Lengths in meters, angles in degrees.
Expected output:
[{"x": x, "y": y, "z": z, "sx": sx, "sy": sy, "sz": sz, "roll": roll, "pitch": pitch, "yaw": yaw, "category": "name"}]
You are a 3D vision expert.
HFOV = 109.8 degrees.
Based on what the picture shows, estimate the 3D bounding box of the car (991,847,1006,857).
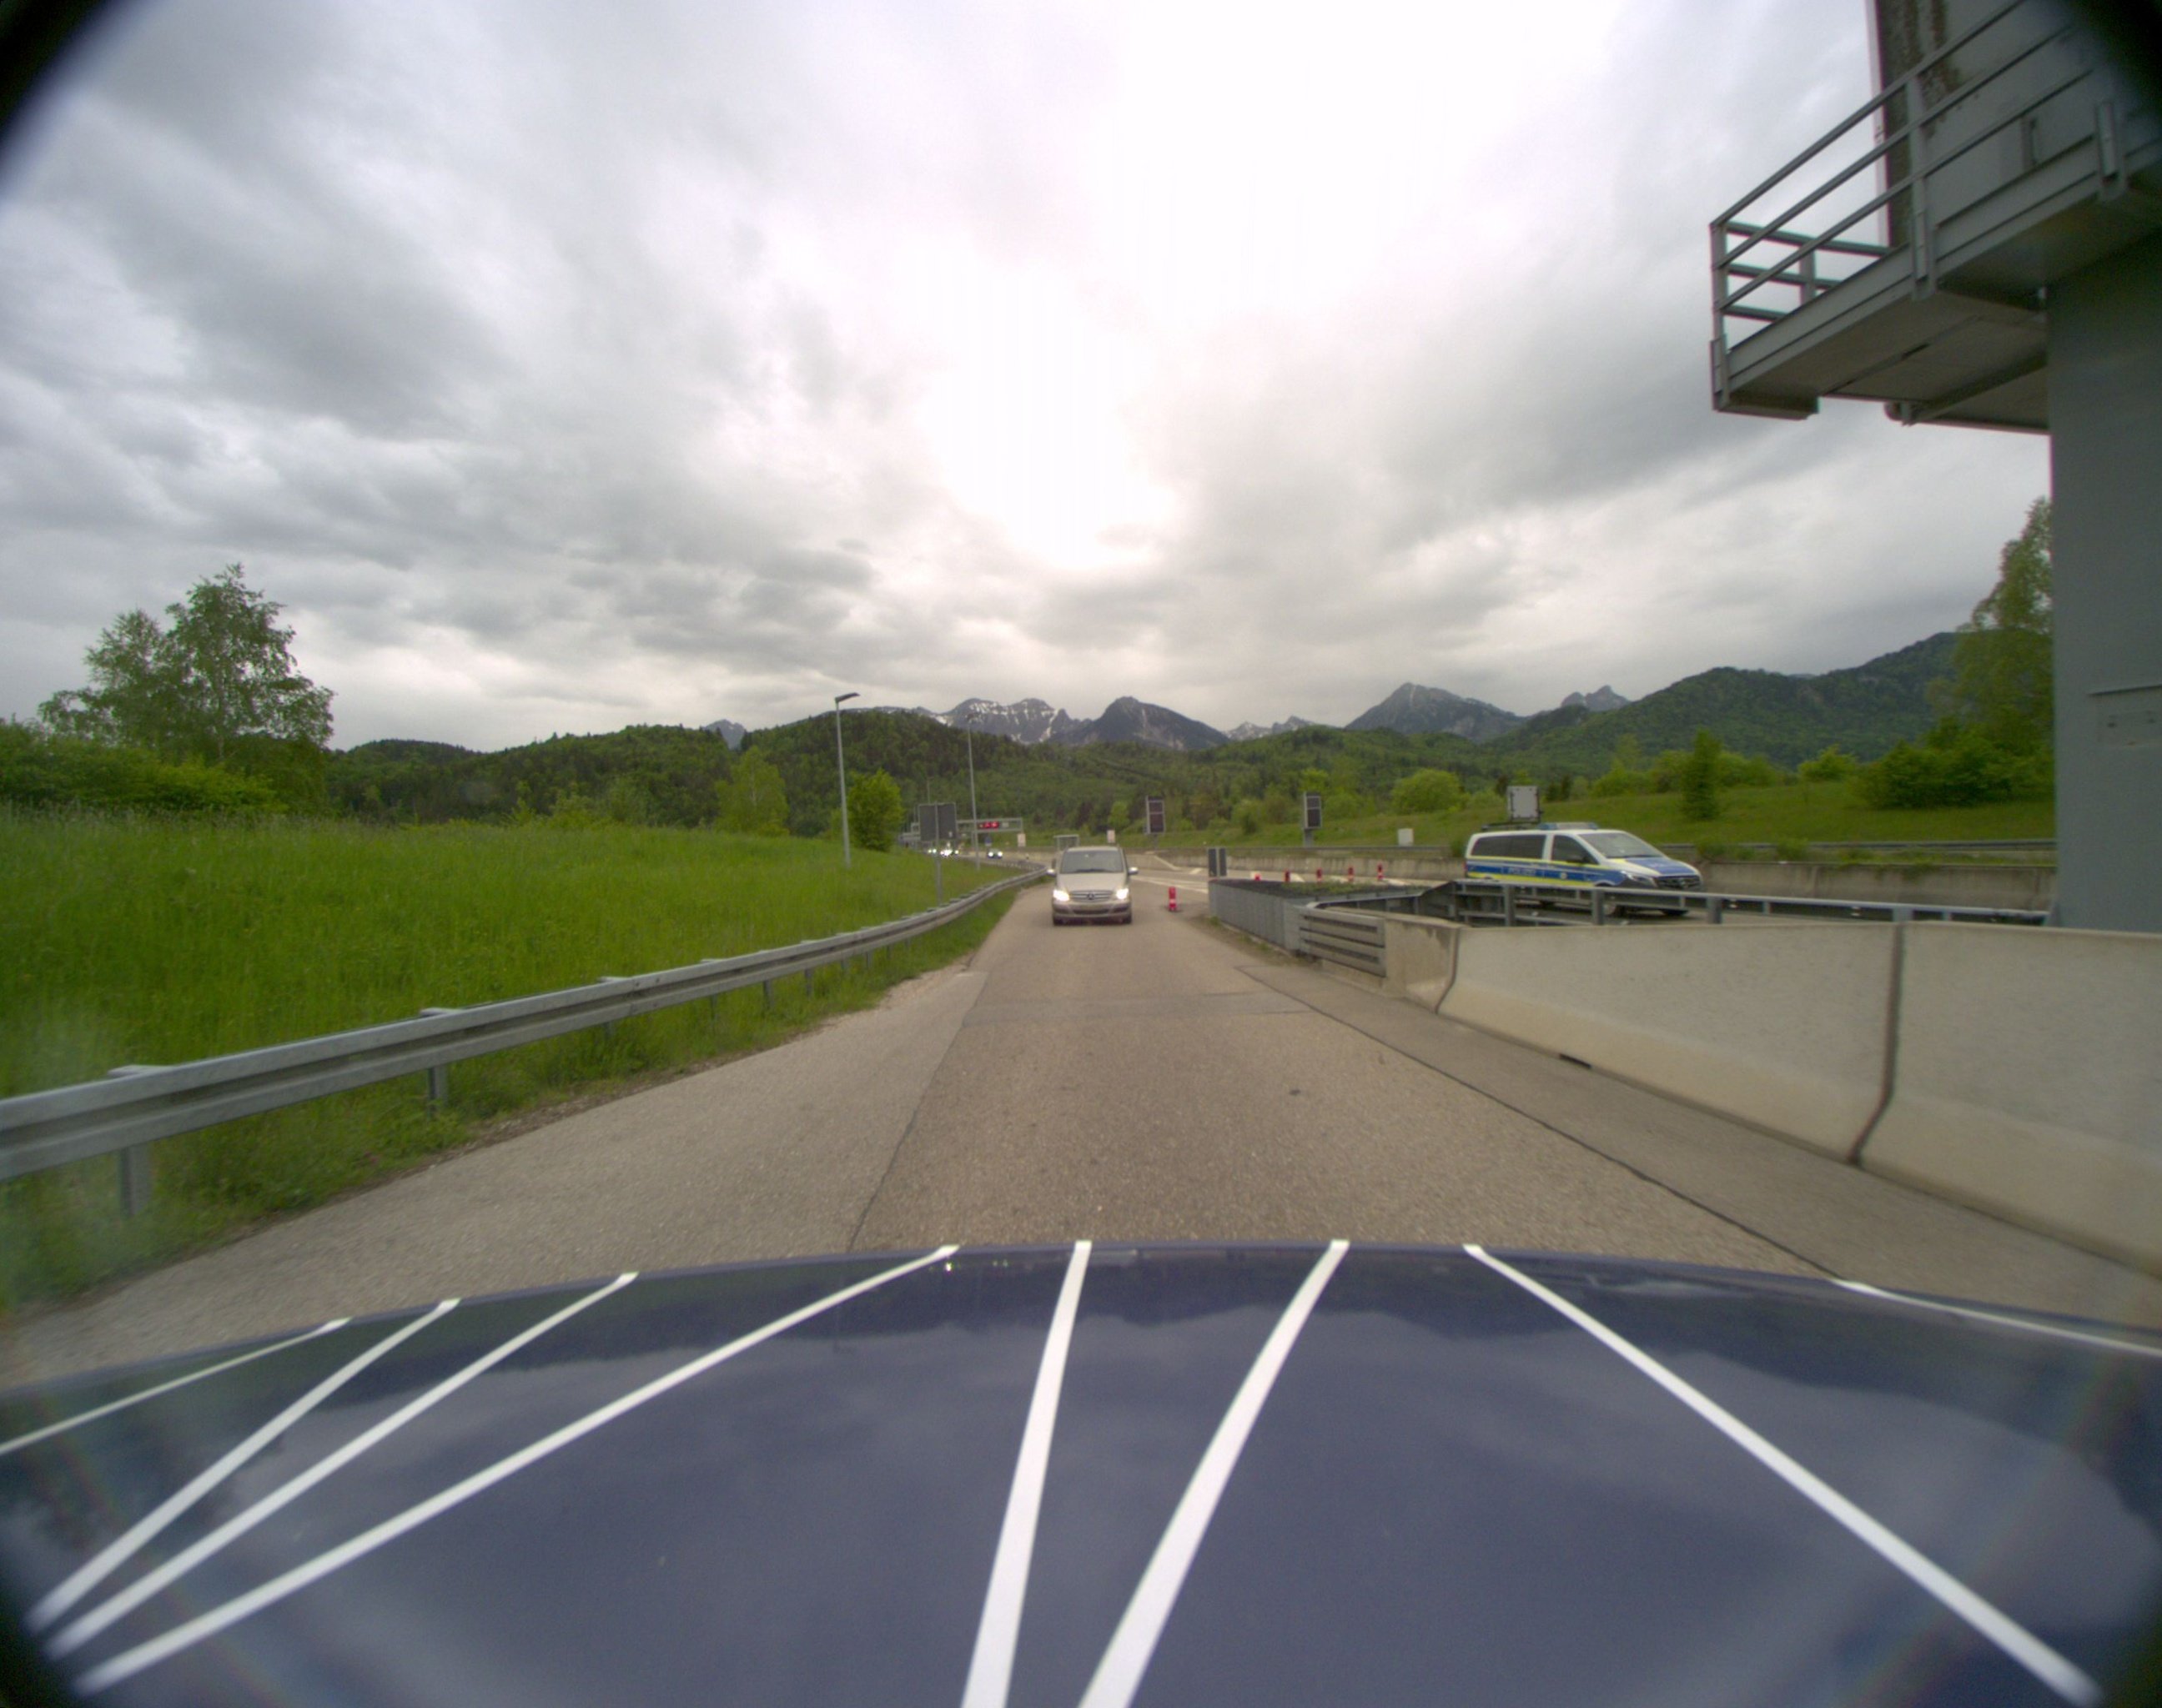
[{"x": -11.839, "y": -0.313, "z": 108.752, "sx": 1.665, "sy": 1.329, "sz": 3.787, "roll": -1, "pitch": 1, "yaw": -14, "category": "car"}]

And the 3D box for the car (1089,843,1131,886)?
[{"x": 1.270, "y": 0.428, "z": 34.544, "sx": 1.756, "sy": 1.795, "sz": 4.000, "roll": -1, "pitch": 1, "yaw": 1, "category": "car"}]

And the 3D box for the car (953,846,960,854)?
[{"x": -29.336, "y": -0.972, "z": 179.155, "sx": 1.632, "sy": 1.688, "sz": 3.492, "roll": -2, "pitch": 1, "yaw": -10, "category": "car"}]

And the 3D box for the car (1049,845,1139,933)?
[{"x": 0.338, "y": 0.733, "z": 19.148, "sx": 1.923, "sy": 1.871, "sz": 5.138, "roll": -1, "pitch": 1, "yaw": 1, "category": "car"}]

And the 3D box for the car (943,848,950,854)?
[{"x": -36.619, "y": -0.850, "z": 206.866, "sx": 1.632, "sy": 1.688, "sz": 3.492, "roll": -2, "pitch": 1, "yaw": -10, "category": "car"}]

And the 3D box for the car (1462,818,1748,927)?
[{"x": 11.400, "y": 0.307, "z": 17.114, "sx": 2.294, "sy": 2.002, "sz": 5.042, "roll": -2, "pitch": 1, "yaw": -14, "category": "car"}]
